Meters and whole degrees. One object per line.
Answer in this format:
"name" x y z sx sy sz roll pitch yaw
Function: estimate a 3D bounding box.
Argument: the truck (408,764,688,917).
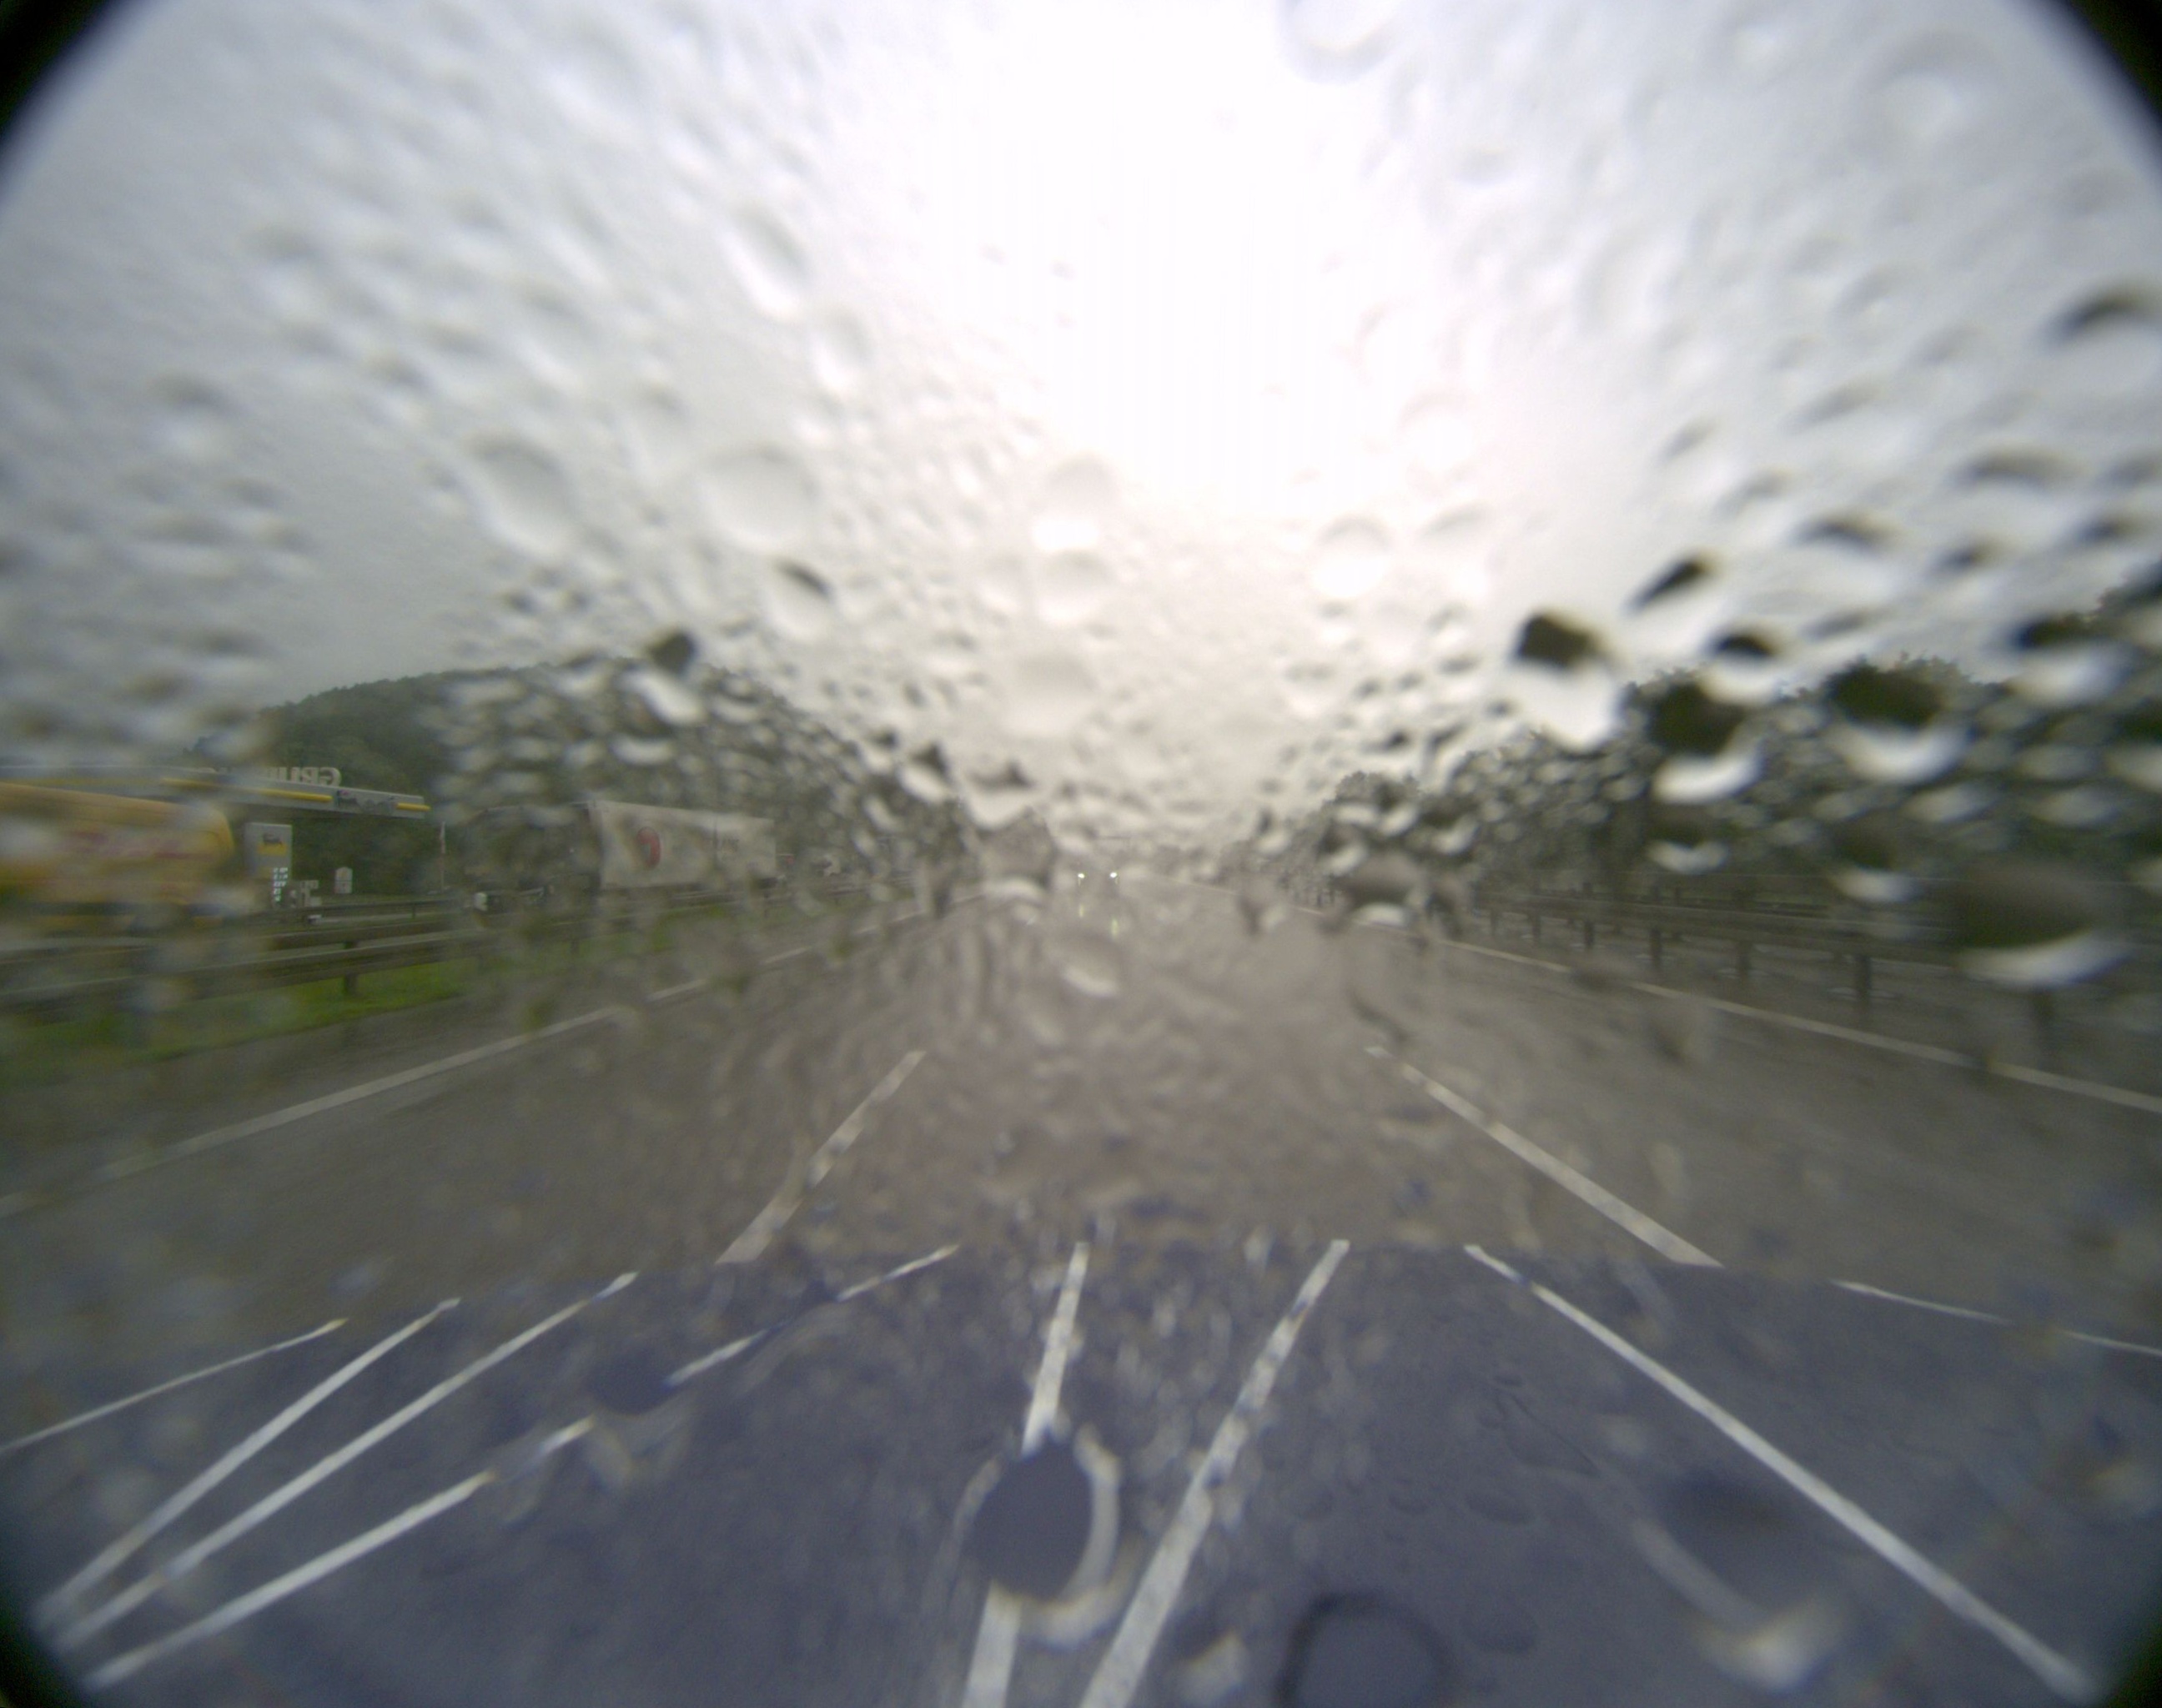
"truck" -17.129 -0.391 25.450 3.536 4.195 7.816 -2 0 1

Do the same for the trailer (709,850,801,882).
"trailer" -44.441 1.556 104.260 2.786 3.878 11.773 -2 0 35

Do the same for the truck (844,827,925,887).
"truck" -15.911 0.242 62.672 3.409 4.376 11.050 -3 0 1

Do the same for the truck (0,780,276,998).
"truck" -16.719 0.547 10.030 2.296 3.129 8.864 -2 0 3

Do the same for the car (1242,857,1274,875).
"car" 17.483 1.160 75.174 1.998 1.682 5.304 -1 0 1

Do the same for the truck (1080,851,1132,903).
"truck" 1.009 0.888 33.375 1.998 2.002 7.576 -1 0 1

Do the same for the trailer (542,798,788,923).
"trailer" -16.882 0.221 32.588 3.525 4.237 11.921 -2 0 2

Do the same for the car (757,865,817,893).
"car" -21.009 1.735 54.610 1.998 1.740 5.662 -2 0 1

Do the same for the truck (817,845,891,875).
"truck" -35.059 0.789 117.989 2.872 4.231 11.894 -2 0 33
